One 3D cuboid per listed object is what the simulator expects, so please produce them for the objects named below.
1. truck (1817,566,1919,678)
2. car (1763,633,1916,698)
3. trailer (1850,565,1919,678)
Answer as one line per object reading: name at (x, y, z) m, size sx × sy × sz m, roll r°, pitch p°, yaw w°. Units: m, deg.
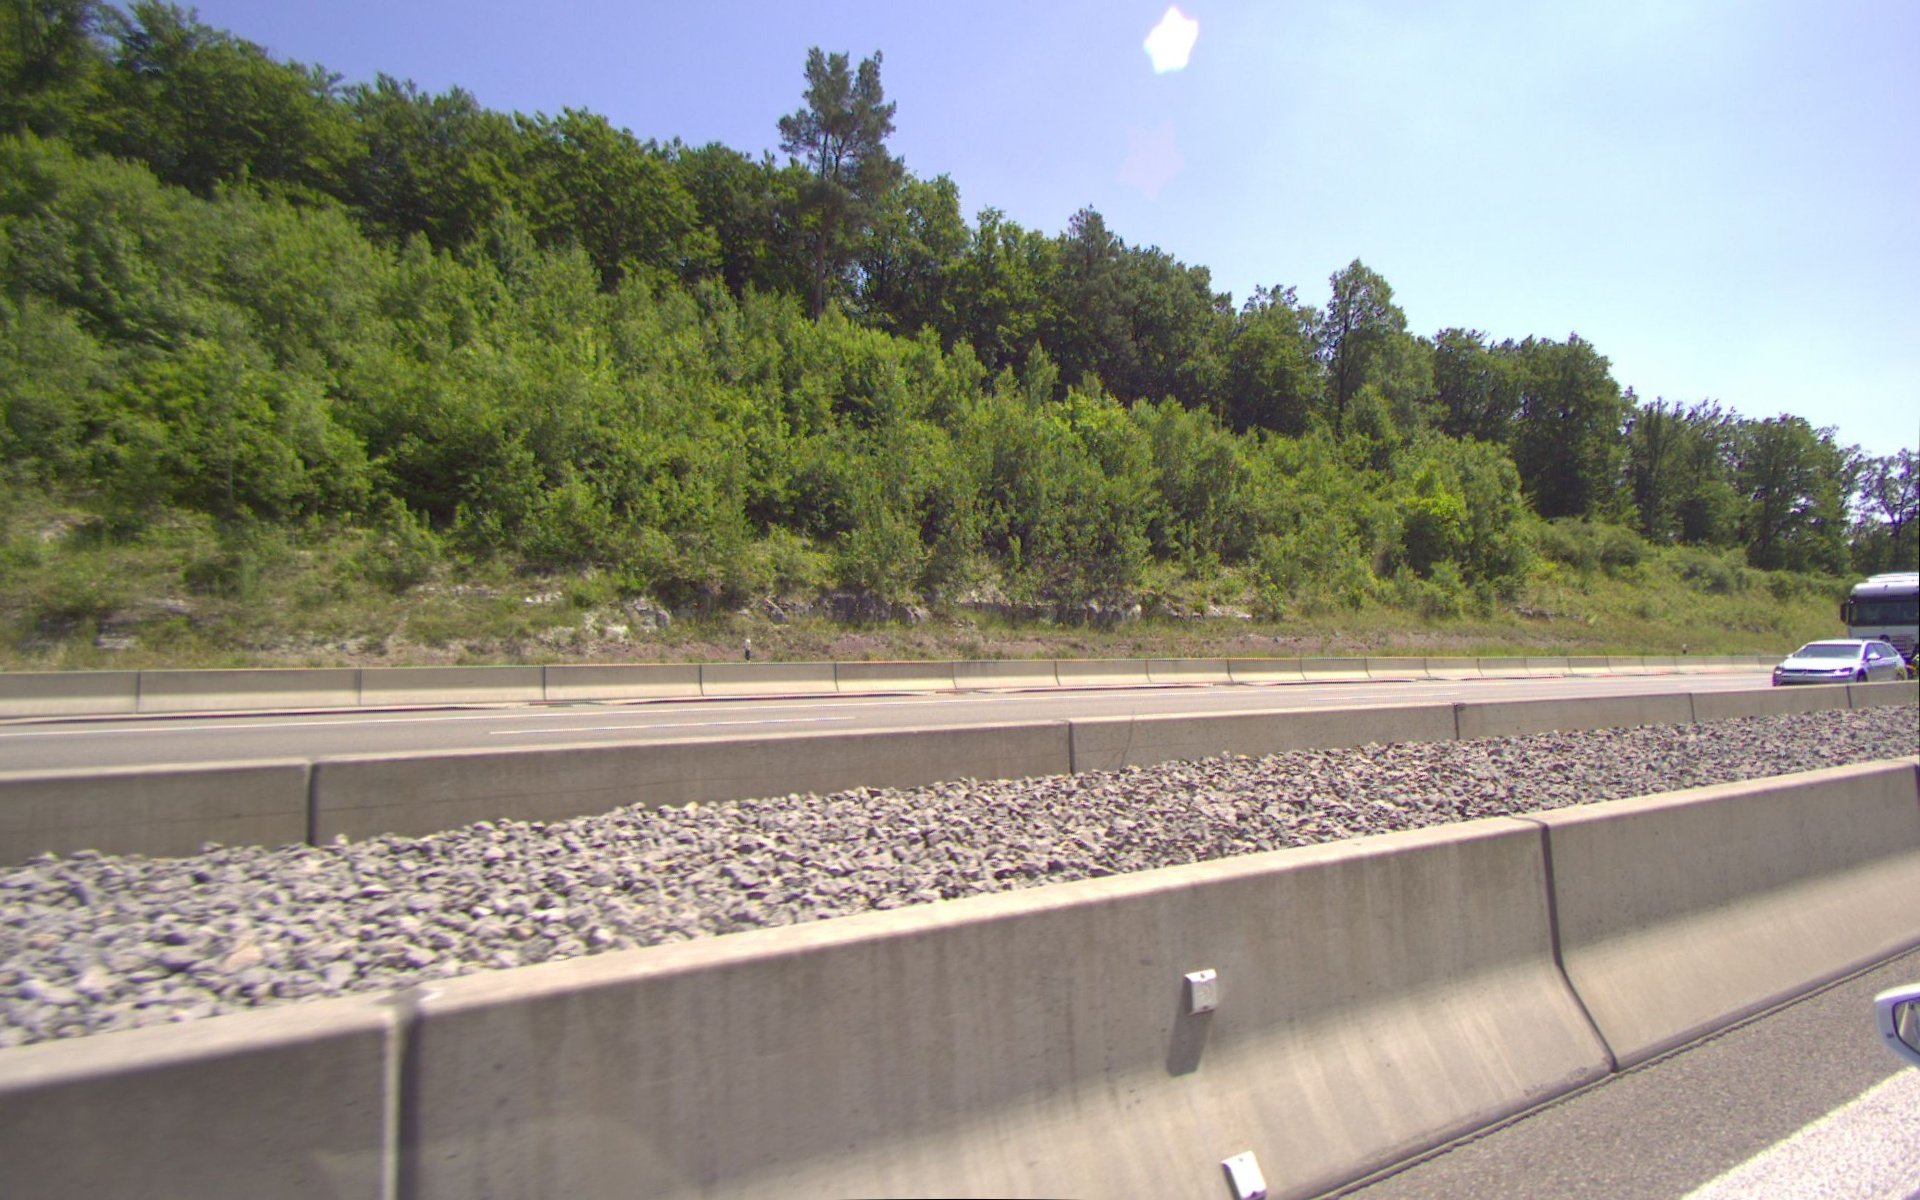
truck at (36.733, 0.901, 39.042) m, size 6.718 × 4.035 × 3.250 m, roll 2°, pitch -2°, yaw -31°
car at (23.456, 1.684, 26.744) m, size 5.003 × 1.568 × 1.670 m, roll 1°, pitch -2°, yaw -32°
trailer at (42.299, 0.997, 42.402) m, size 13.681 × 4.309 × 3.085 m, roll 2°, pitch -3°, yaw -31°
